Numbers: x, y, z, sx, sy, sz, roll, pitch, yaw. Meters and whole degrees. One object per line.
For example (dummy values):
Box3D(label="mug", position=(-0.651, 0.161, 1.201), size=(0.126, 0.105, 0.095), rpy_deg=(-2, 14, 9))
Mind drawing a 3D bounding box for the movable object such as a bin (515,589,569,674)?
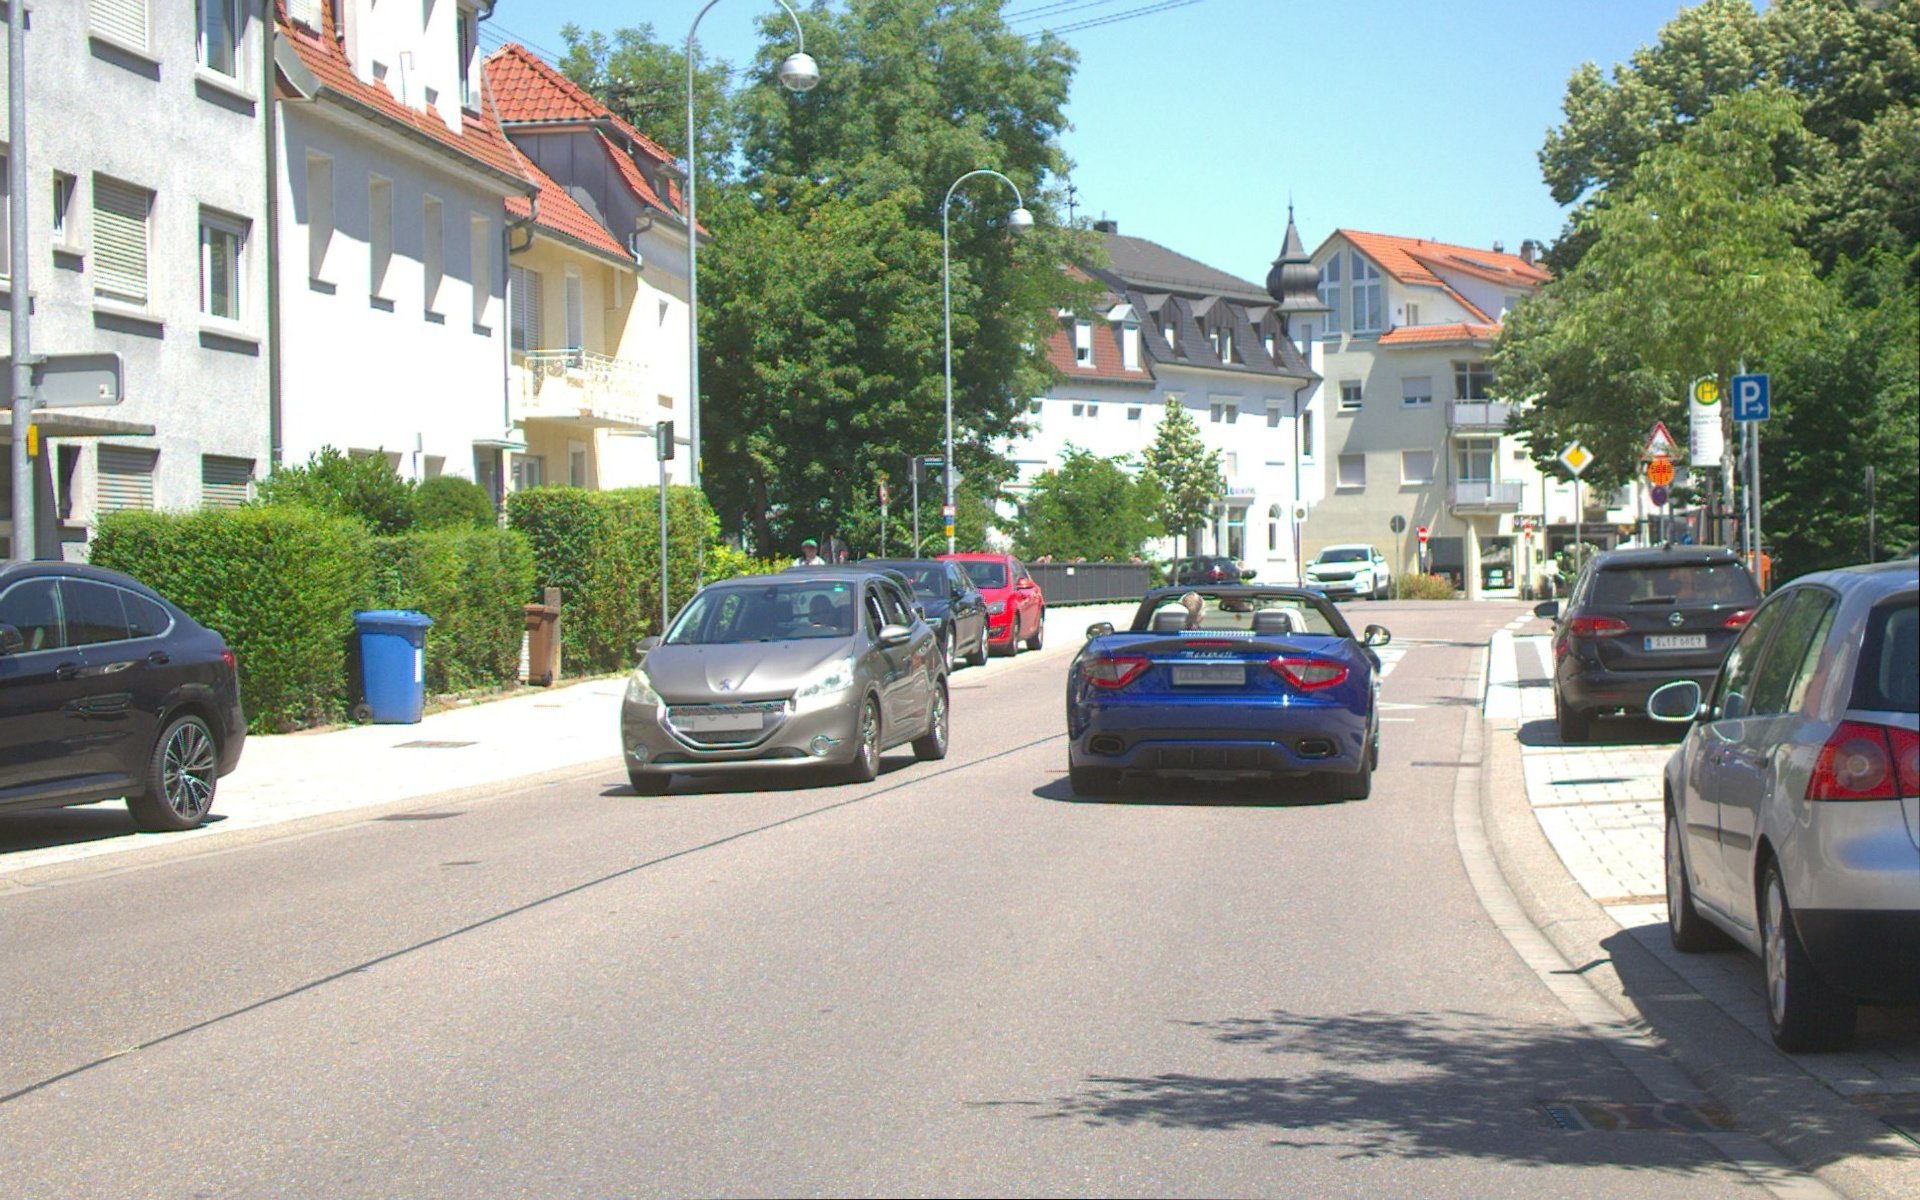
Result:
Box3D(label="movable object such as a bin", position=(-4.975, 0.370, 40.920), size=(0.467, 0.987, 0.614), rpy_deg=(-1, 1, 9))

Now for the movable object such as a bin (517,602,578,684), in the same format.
Box3D(label="movable object such as a bin", position=(-4.721, 0.486, 39.331), size=(0.494, 0.908, 0.706), rpy_deg=(-1, 1, 9))

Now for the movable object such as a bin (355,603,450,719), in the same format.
Box3D(label="movable object such as a bin", position=(-5.231, 0.569, 32.282), size=(0.673, 1.044, 0.652), rpy_deg=(-2, 1, 9))

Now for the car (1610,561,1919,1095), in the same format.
Box3D(label="car", position=(3.394, 0.601, 11.730), size=(1.813, 1.472, 4.506), rpy_deg=(-2, 0, 5))

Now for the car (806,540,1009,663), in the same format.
Box3D(label="car", position=(-0.628, -0.034, 45.870), size=(1.864, 1.456, 5.305), rpy_deg=(1, 2, 8))

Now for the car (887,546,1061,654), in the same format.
Box3D(label="car", position=(0.271, -0.042, 51.723), size=(1.878, 1.474, 4.736), rpy_deg=(2, 1, 9))

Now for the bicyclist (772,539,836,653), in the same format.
Box3D(label="bicyclist", position=(-2.309, -0.066, 50.911), size=(0.782, 1.653, 0.835), rpy_deg=(-1, 1, 7))

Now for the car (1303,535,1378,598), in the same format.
Box3D(label="car", position=(10.356, -0.933, 93.397), size=(1.878, 1.591, 4.358), rpy_deg=(-2, 1, 8))

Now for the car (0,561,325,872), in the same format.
Box3D(label="car", position=(-5.808, 0.619, 19.670), size=(2.087, 1.609, 5.104), rpy_deg=(0, 2, 18))

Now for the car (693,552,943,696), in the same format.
Box3D(label="car", position=(-1.568, 0.227, 39.445), size=(1.789, 1.454, 4.195), rpy_deg=(2, 2, 13))

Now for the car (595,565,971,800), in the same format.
Box3D(label="car", position=(-1.166, 0.529, 24.608), size=(1.732, 1.407, 3.998), rpy_deg=(-3, 1, 11))

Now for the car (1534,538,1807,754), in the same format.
Box3D(label="car", position=(5.696, 0.300, 28.052), size=(1.834, 1.499, 5.062), rpy_deg=(-3, 1, 9))

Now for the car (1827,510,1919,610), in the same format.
Box3D(label="car", position=(18.545, -0.724, 64.065), size=(4.337, 1.832, 1.750), rpy_deg=(0, 0, 1))

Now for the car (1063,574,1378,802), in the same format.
Box3D(label="car", position=(1.824, 0.505, 22.829), size=(1.871, 1.337, 4.595), rpy_deg=(0, 1, 7))
